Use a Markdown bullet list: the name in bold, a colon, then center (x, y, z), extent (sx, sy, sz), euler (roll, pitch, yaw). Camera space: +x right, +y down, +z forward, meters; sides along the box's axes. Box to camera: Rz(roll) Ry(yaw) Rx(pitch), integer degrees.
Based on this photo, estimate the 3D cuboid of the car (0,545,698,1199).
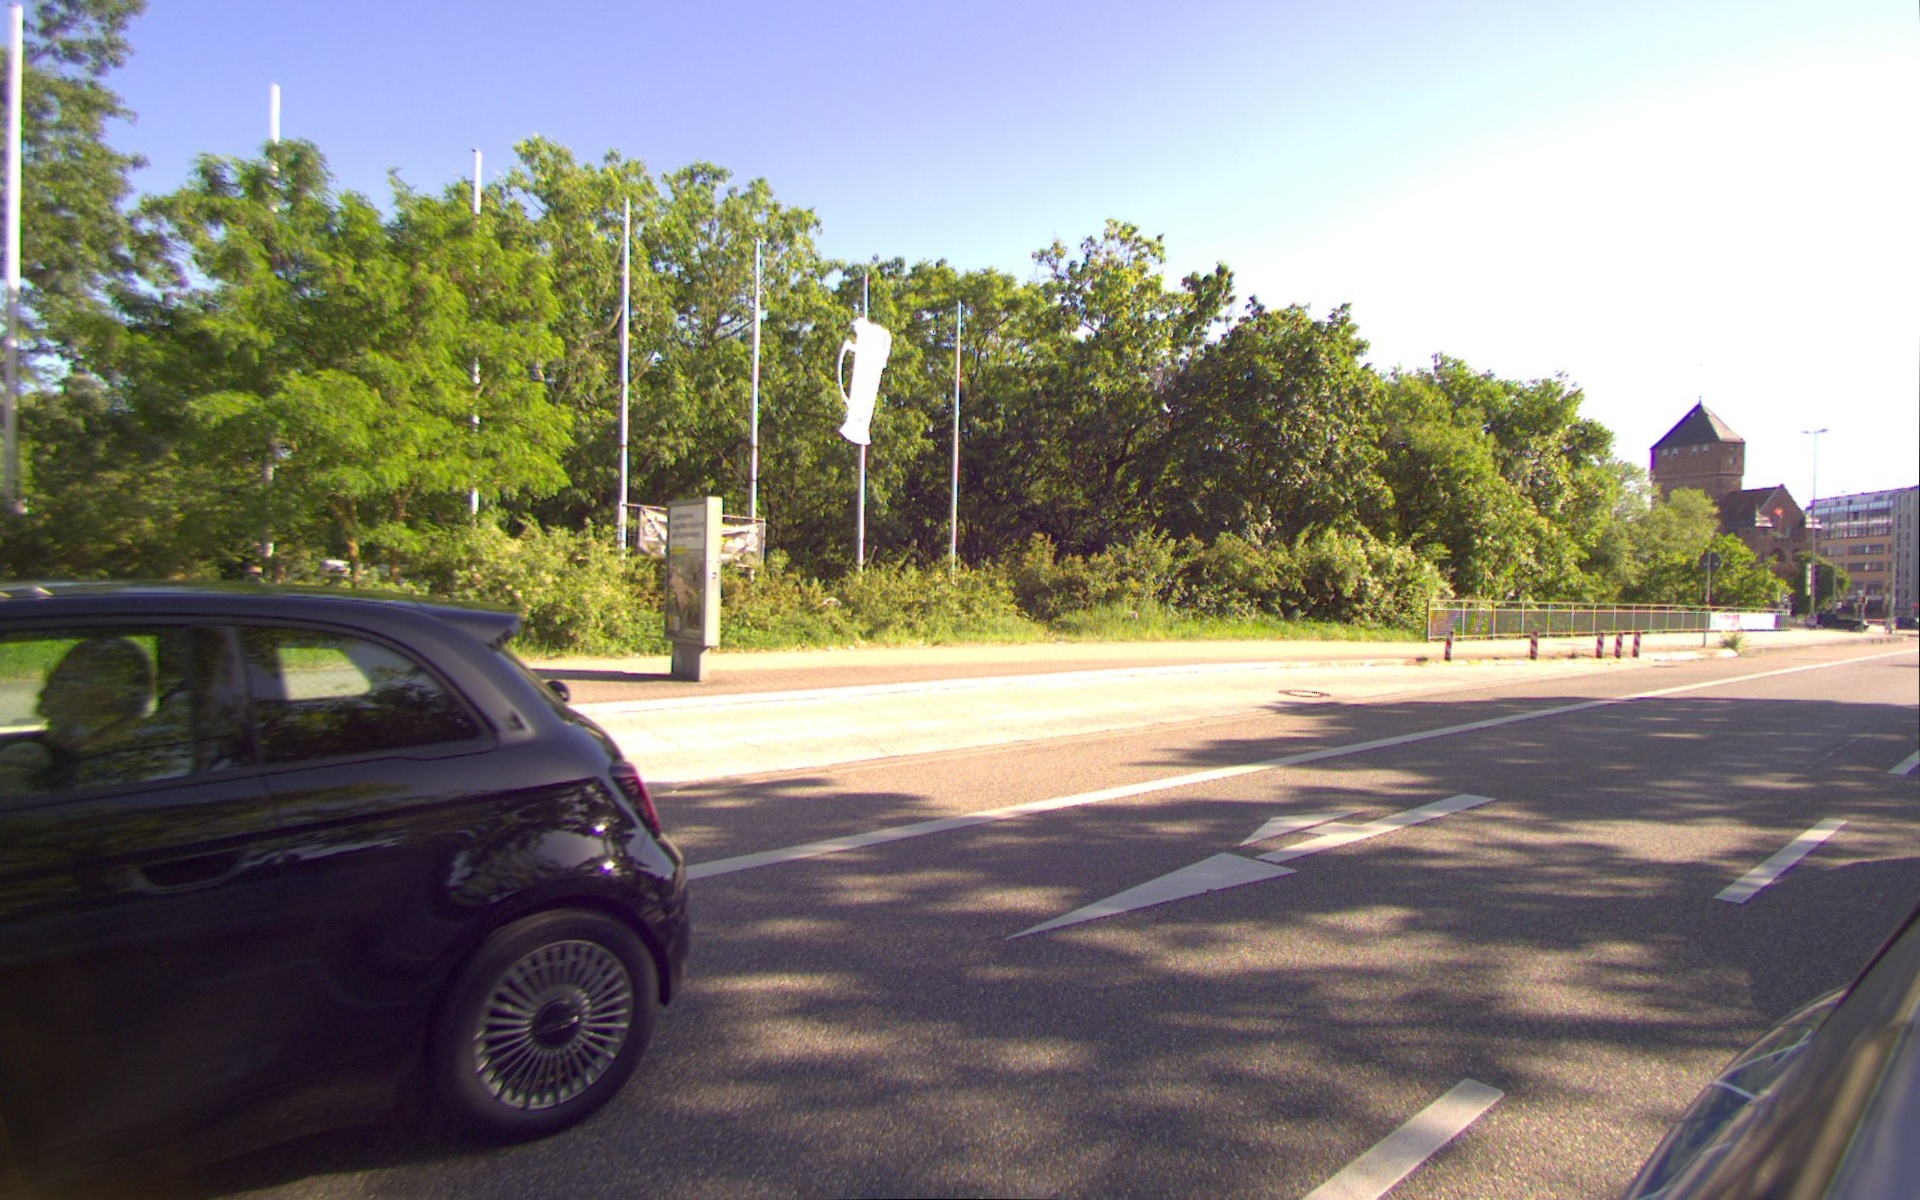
- **car**: center (-2.629, 0.632, 2.422), extent (3.500, 1.522, 1.677), euler (0, 1, -41)
